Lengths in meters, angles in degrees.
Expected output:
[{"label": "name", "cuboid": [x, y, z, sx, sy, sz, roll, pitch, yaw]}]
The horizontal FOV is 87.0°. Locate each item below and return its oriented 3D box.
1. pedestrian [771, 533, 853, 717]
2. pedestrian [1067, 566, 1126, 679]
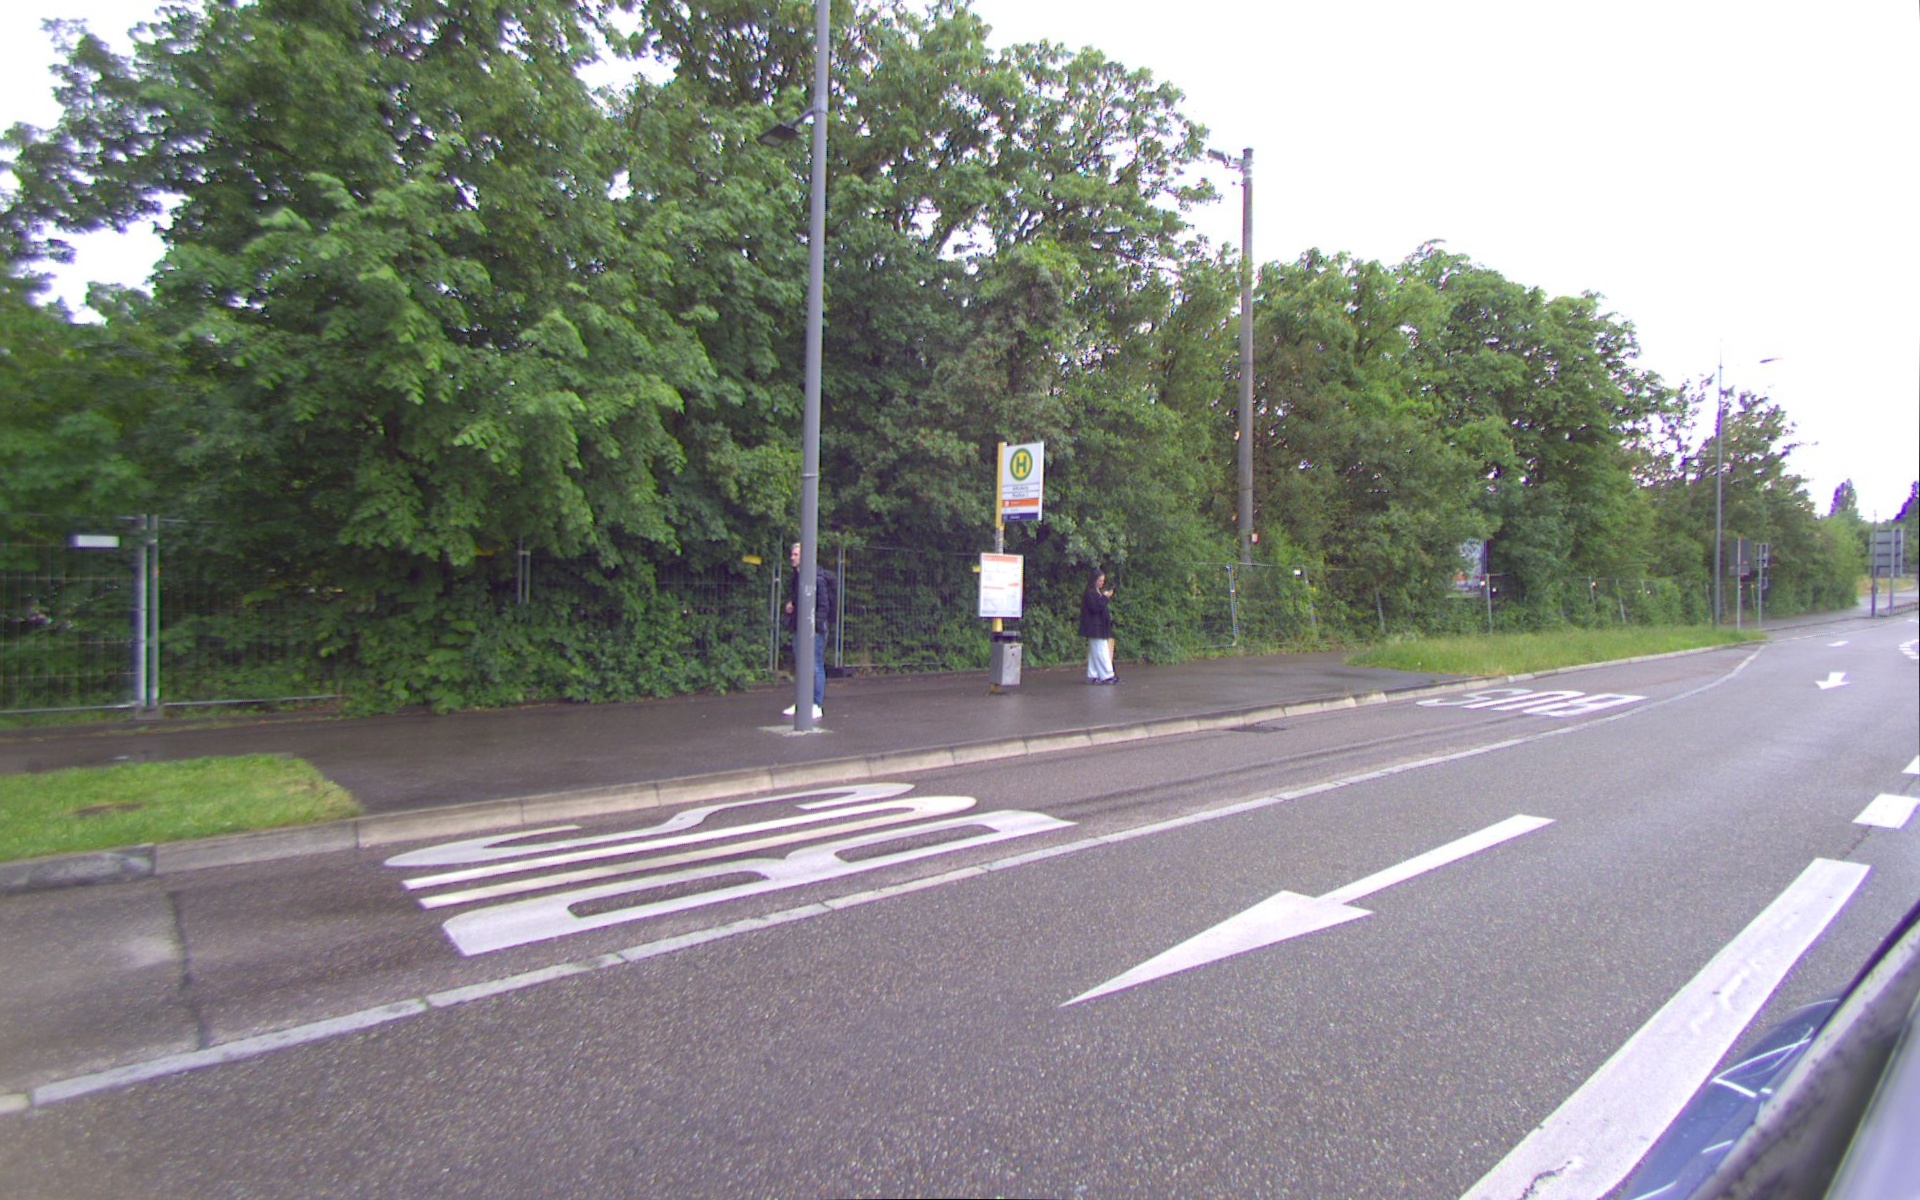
[{"label": "pedestrian", "cuboid": [-1.661, 0.258, 11.326, 0.587, 1.973, 0.742, 0, 1, -40]}, {"label": "pedestrian", "cuboid": [2.058, 0.324, 15.240, 0.650, 1.648, 0.588, 0, 1, -40]}]
